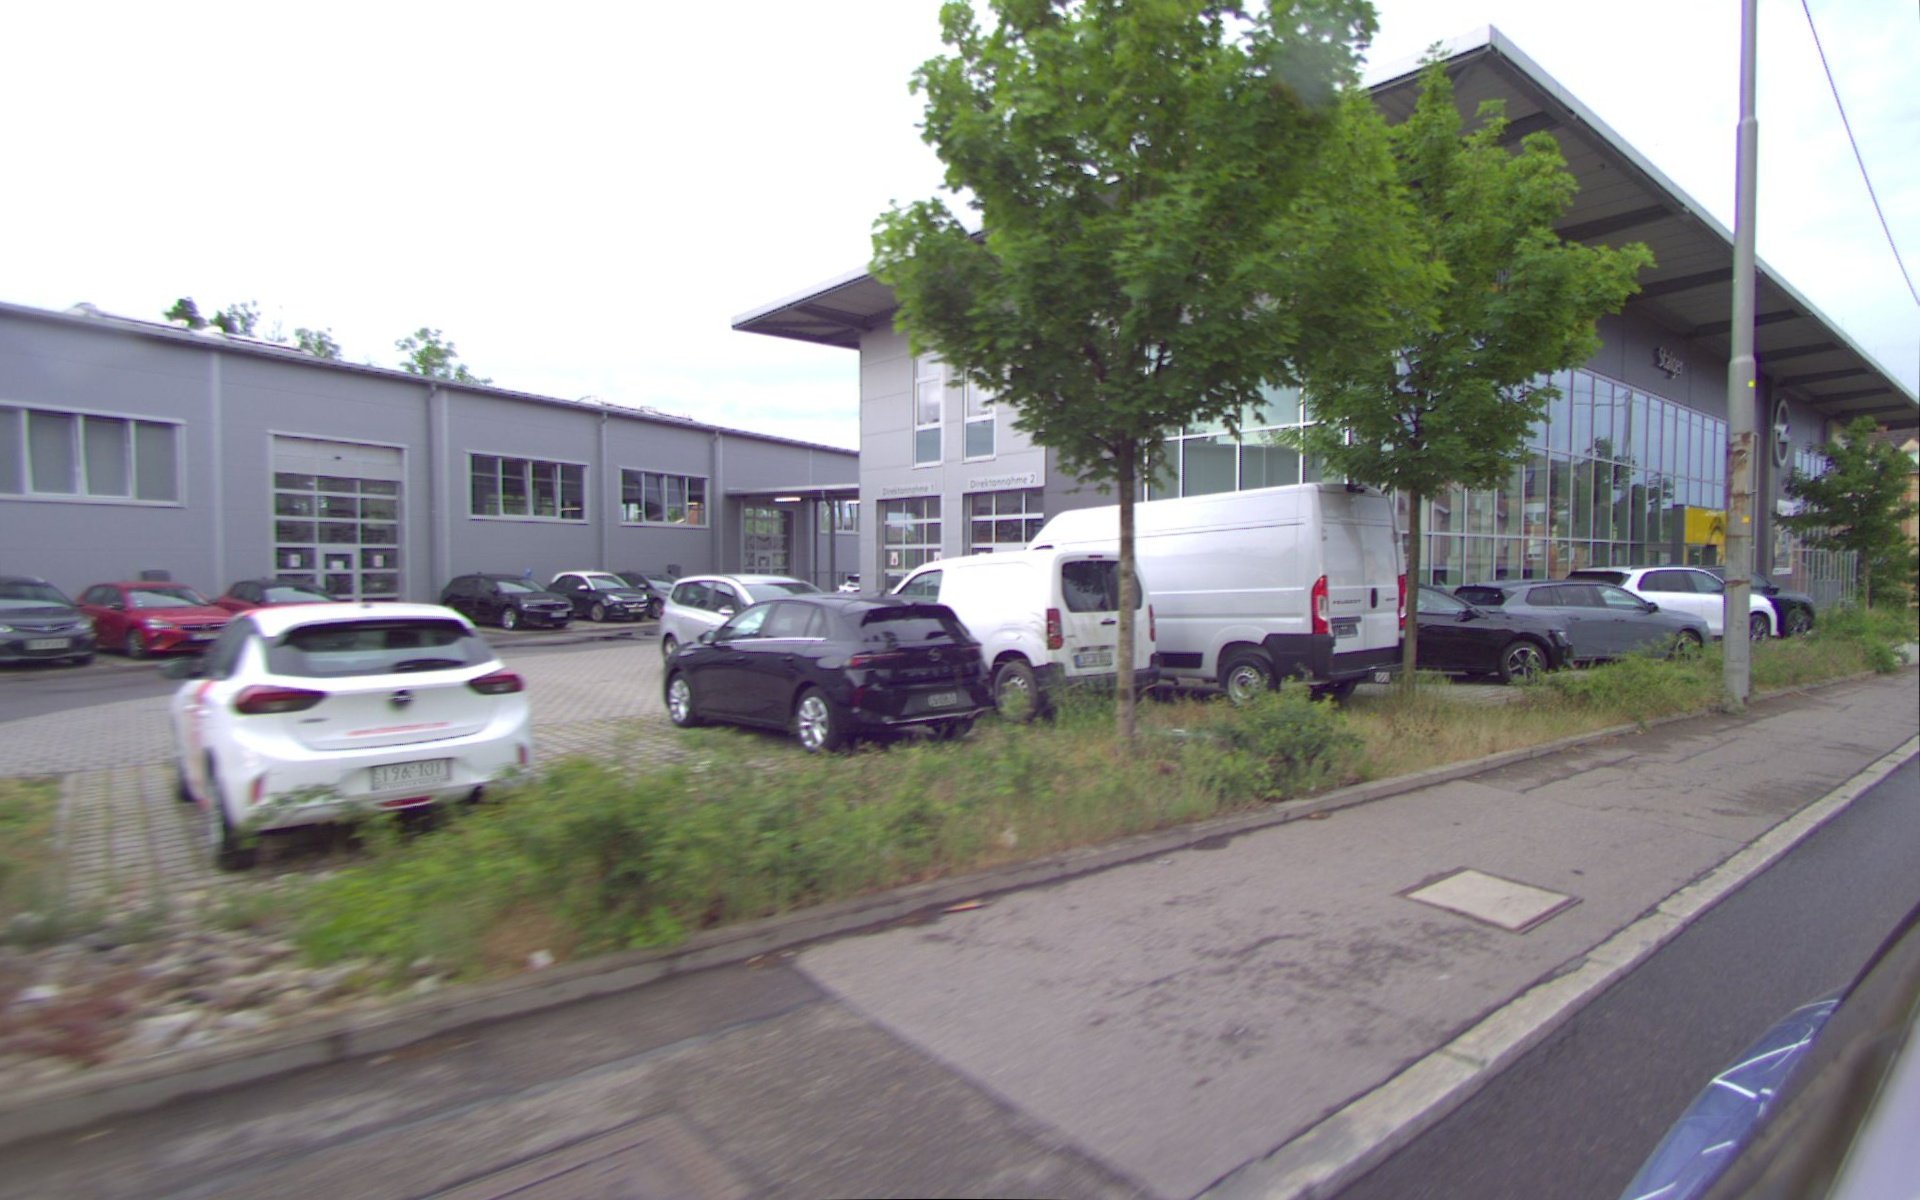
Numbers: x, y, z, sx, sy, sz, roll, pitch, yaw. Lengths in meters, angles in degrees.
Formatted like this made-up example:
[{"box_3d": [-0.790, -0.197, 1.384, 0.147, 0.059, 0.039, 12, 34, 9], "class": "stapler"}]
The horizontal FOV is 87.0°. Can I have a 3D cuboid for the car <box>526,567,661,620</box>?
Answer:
[{"box_3d": [-11.354, -0.225, 31.323, 3.966, 1.570, 1.828, 1, 1, 30], "class": "car"}]

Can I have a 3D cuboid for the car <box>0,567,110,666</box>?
[{"box_3d": [-17.301, 0.232, 18.530, 3.977, 1.652, 1.806, 1, 2, 37], "class": "car"}]

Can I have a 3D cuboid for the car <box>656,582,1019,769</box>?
[{"box_3d": [-1.403, 0.579, 10.176, 1.717, 1.448, 3.995, -3, 2, -40], "class": "car"}]

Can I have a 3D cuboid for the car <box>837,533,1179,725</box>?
[{"box_3d": [0.392, 0.221, 12.104, 1.810, 1.869, 4.138, -3, 2, -38], "class": "car"}]

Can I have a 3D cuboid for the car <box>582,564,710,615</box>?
[{"box_3d": [-10.302, -0.371, 33.186, 3.966, 1.570, 1.828, 1, 1, 30], "class": "car"}]

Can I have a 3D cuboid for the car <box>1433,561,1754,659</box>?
[{"box_3d": [10.628, 0.146, 17.099, 4.476, 1.472, 1.921, 1, 3, -13], "class": "car"}]

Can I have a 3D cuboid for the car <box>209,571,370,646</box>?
[{"box_3d": [-15.186, 0.123, 22.871, 3.977, 1.526, 1.806, 1, 2, 37], "class": "car"}]

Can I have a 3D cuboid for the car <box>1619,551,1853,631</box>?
[{"box_3d": [18.094, -0.227, 23.668, 4.335, 1.731, 2.005, 1, 3, -14], "class": "car"}]

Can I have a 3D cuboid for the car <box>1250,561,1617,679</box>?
[{"box_3d": [6.729, 0.221, 14.884, 4.441, 1.472, 1.913, 2, 3, 7], "class": "car"}]

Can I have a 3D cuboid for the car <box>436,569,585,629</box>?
[{"box_3d": [-12.512, -0.080, 28.131, 3.967, 1.441, 1.822, 3, 3, 30], "class": "car"}]

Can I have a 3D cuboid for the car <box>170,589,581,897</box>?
[{"box_3d": [-4.260, 0.677, 7.042, 1.861, 1.446, 3.996, 1, 1, -39], "class": "car"}]

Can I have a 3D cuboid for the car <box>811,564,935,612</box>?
[{"box_3d": [-2.710, -0.364, 32.417, 1.985, 1.438, 3.953, 1, 0, 33], "class": "car"}]

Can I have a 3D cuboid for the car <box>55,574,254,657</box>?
[{"box_3d": [-16.435, 0.251, 20.633, 3.964, 1.526, 1.812, 1, 1, 29], "class": "car"}]

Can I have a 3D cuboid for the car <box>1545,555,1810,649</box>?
[{"box_3d": [14.491, 0.007, 20.503, 4.481, 1.731, 2.005, 0, 3, -17], "class": "car"}]

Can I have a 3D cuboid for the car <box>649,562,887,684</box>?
[{"box_3d": [-3.130, 0.270, 15.942, 1.834, 1.660, 4.145, 0, 1, -41], "class": "car"}]

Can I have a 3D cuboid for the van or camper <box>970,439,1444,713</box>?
[{"box_3d": [2.872, -0.275, 13.146, 2.310, 2.758, 5.748, 1, 0, -40], "class": "van or camper"}]
